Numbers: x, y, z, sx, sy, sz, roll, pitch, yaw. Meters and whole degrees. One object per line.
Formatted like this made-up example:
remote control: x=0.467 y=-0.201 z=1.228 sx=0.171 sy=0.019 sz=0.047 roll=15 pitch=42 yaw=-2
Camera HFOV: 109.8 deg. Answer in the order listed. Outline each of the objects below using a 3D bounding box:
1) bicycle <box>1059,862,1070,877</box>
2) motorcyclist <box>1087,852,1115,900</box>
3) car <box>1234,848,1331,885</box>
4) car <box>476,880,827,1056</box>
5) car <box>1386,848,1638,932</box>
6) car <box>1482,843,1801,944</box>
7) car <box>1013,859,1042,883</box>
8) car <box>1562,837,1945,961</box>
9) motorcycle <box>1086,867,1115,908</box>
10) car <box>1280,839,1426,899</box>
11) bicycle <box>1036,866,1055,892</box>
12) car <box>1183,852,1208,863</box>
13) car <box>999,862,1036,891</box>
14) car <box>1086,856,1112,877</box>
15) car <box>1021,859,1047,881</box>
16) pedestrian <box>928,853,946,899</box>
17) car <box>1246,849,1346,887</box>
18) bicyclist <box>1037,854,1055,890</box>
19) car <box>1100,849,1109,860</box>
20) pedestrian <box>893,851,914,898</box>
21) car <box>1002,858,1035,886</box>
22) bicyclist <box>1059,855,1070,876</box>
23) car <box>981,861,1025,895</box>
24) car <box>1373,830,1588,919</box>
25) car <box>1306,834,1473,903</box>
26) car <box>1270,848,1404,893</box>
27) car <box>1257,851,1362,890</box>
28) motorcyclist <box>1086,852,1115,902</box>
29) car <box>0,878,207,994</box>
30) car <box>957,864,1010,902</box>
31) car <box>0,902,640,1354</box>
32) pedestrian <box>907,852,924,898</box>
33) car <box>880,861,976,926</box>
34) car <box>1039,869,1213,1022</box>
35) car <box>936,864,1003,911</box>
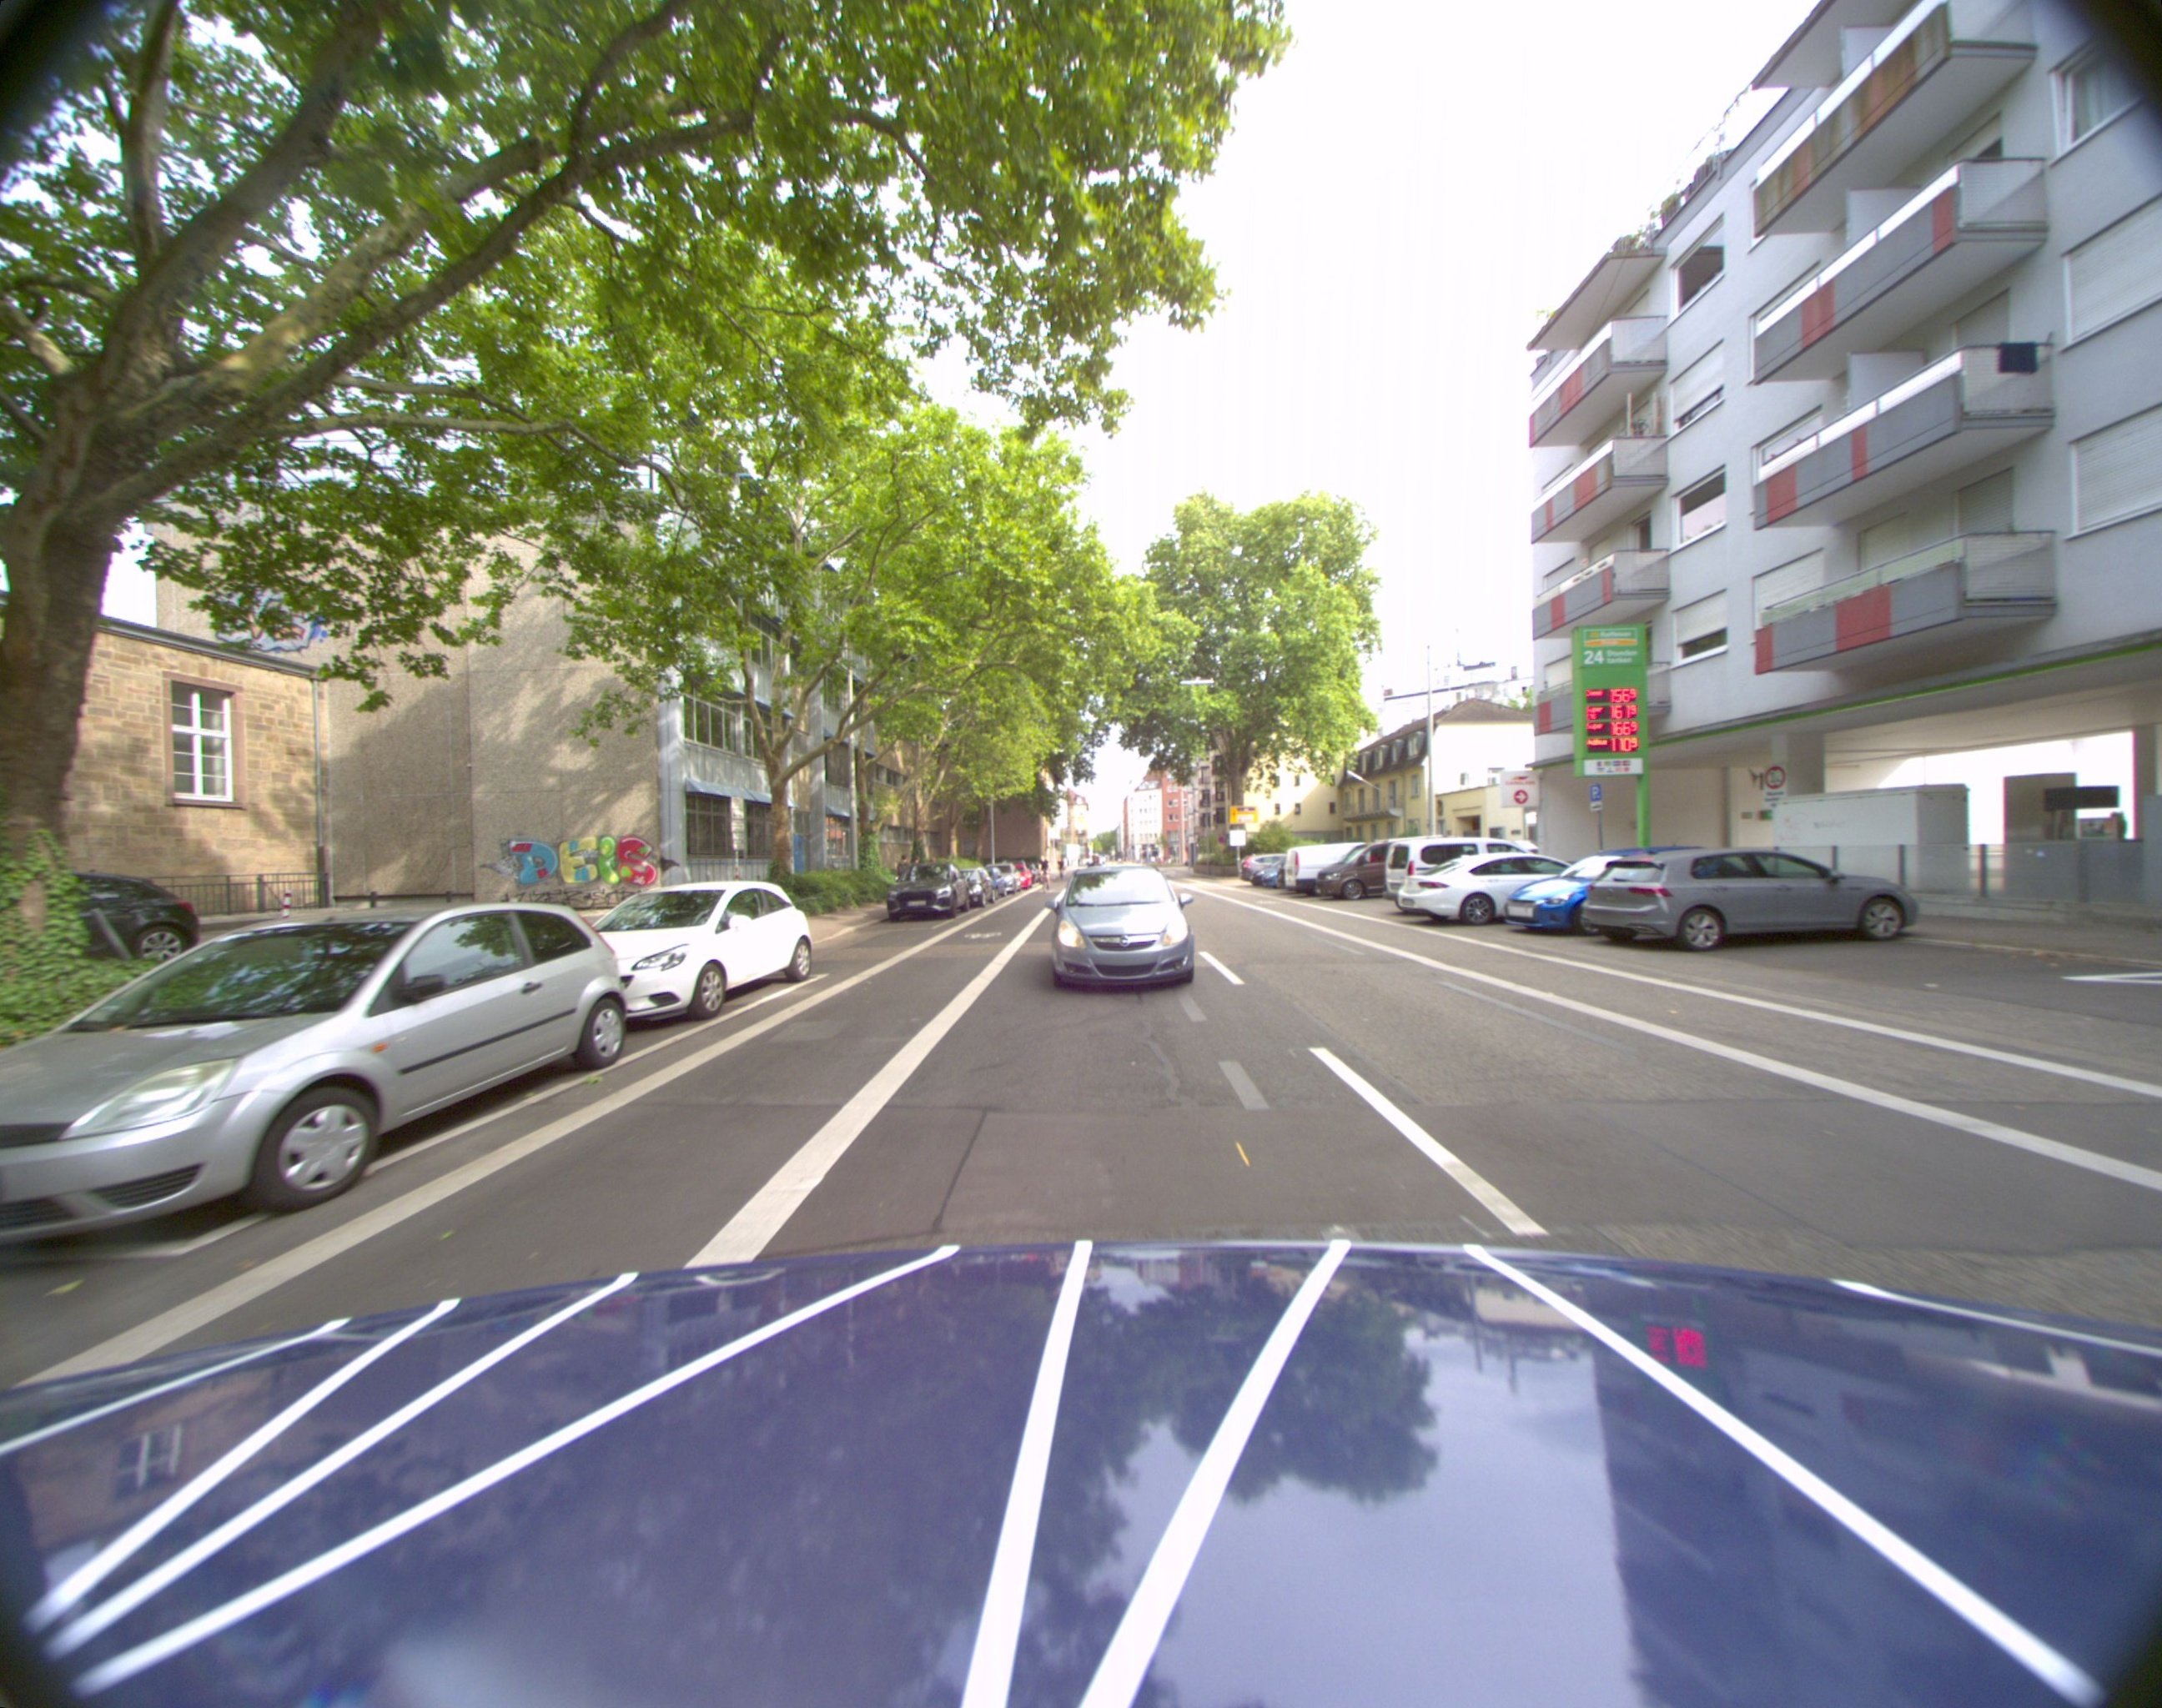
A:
bicycle: x=-1.288 y=1.211 z=59.885 sx=0.763 sy=1.162 sz=1.950 roll=-2 pitch=0 yaw=2
motorcyclist: x=0.669 y=0.737 z=25.850 sx=0.904 sy=1.608 sz=0.691 roll=-1 pitch=1 yaw=1
car: x=10.458 y=0.642 z=39.575 sx=4.529 sy=1.596 sz=1.754 roll=-4 pitch=0 yaw=2
car: x=-4.815 y=1.168 z=9.372 sx=1.758 sy=1.438 sz=4.218 roll=-3 pitch=0 yaw=2
car: x=9.106 y=0.729 z=16.342 sx=4.281 sy=1.442 sz=1.874 roll=-4 pitch=0 yaw=2
car: x=10.005 y=0.679 z=13.858 sx=4.311 sy=1.442 sz=1.910 roll=-4 pitch=0 yaw=2
car: x=-3.723 y=1.154 z=53.729 sx=1.602 sy=1.516 sz=3.956 roll=-3 pitch=0 yaw=1
car: x=10.117 y=0.649 z=11.708 sx=4.161 sy=1.504 sz=1.837 roll=-4 pitch=0 yaw=2
motorcycle: x=0.636 y=1.078 z=25.141 sx=0.904 sy=1.190 sz=2.630 roll=-1 pitch=0 yaw=1
car: x=9.985 y=0.531 z=28.206 sx=4.627 sy=1.848 sz=1.950 roll=-4 pitch=0 yaw=2
bicycle: x=-1.719 y=1.209 z=37.247 sx=0.763 sy=1.162 sz=1.950 roll=-2 pitch=0 yaw=2
car: x=18.624 y=0.540 z=123.524 sx=1.967 sy=1.660 sz=4.560 roll=-2 pitch=0 yaw=39
car: x=-3.584 y=1.237 z=43.456 sx=1.602 sy=1.438 sz=4.105 roll=-3 pitch=0 yaw=1
car: x=1.477 y=0.964 z=62.049 sx=2.000 sy=1.556 sz=4.551 roll=-2 pitch=0 yaw=1
car: x=-3.575 y=1.170 z=58.440 sx=1.602 sy=1.516 sz=3.956 roll=-3 pitch=0 yaw=1
pedestrian: x=-5.724 y=0.875 z=30.227 sx=0.592 sy=1.775 sz=0.476 roll=2 pitch=1 yaw=0
car: x=10.491 y=0.657 z=37.259 sx=4.372 sy=1.540 sz=1.733 roll=-4 pitch=0 yaw=2
bicyclist: x=-1.727 y=0.887 z=37.278 sx=0.764 sy=1.698 sz=0.917 roll=-2 pitch=1 yaw=1
car: x=5.787 y=0.091 z=187.449 sx=1.998 sy=2.546 sz=4.799 roll=-2 pitch=0 yaw=2
pedestrian: x=-7.052 y=0.819 z=30.209 sx=0.643 sy=1.823 sz=0.645 roll=2 pitch=1 yaw=0
car: x=-4.014 y=1.123 z=49.186 sx=1.651 sy=1.655 sz=3.797 roll=-3 pitch=0 yaw=1
bicyclist: x=-1.290 y=0.908 z=59.889 sx=0.748 sy=1.590 sz=0.819 roll=-2 pitch=1 yaw=2
car: x=-3.857 y=1.166 z=38.267 sx=1.602 sy=1.496 sz=4.440 roll=-3 pitch=0 yaw=1
car: x=9.787 y=0.483 z=18.883 sx=4.221 sy=1.837 sz=1.924 roll=-4 pitch=0 yaw=2
car: x=10.327 y=0.471 z=25.731 sx=4.778 sy=1.923 sz=1.994 roll=-4 pitch=0 yaw=2
car: x=10.245 y=0.646 z=30.640 sx=4.716 sy=1.461 sz=1.874 roll=-4 pitch=0 yaw=2
car: x=10.489 y=0.739 z=35.131 sx=4.275 sy=1.502 sz=1.719 roll=-4 pitch=0 yaw=2
motorcyclist: x=0.633 y=0.745 z=25.141 sx=0.904 sy=1.608 sz=0.691 roll=-1 pitch=1 yaw=1
car: x=-14.289 y=1.049 z=9.542 sx=1.673 sy=1.441 sz=4.299 roll=-2 pitch=-2 yaw=-1
car: x=-4.136 y=1.202 z=32.780 sx=1.602 sy=1.414 sz=3.956 roll=-3 pitch=0 yaw=1
car: x=-4.655 y=1.181 z=4.737 sx=1.647 sy=1.438 sz=3.881 roll=-3 pitch=0 yaw=-3
pedestrian: x=-6.516 y=0.838 z=29.980 sx=0.502 sy=1.775 sz=0.527 roll=2 pitch=1 yaw=0
car: x=-4.495 y=1.102 z=23.025 sx=1.926 sy=1.612 sz=4.480 roll=-3 pitch=0 yaw=-1
car: x=0.500 y=0.966 z=9.790 sx=1.716 sy=1.412 sz=4.253 roll=-2 pitch=0 yaw=1
car: x=-4.073 y=1.182 z=28.350 sx=1.643 sy=1.424 sz=4.573 roll=-3 pitch=0 yaw=1
